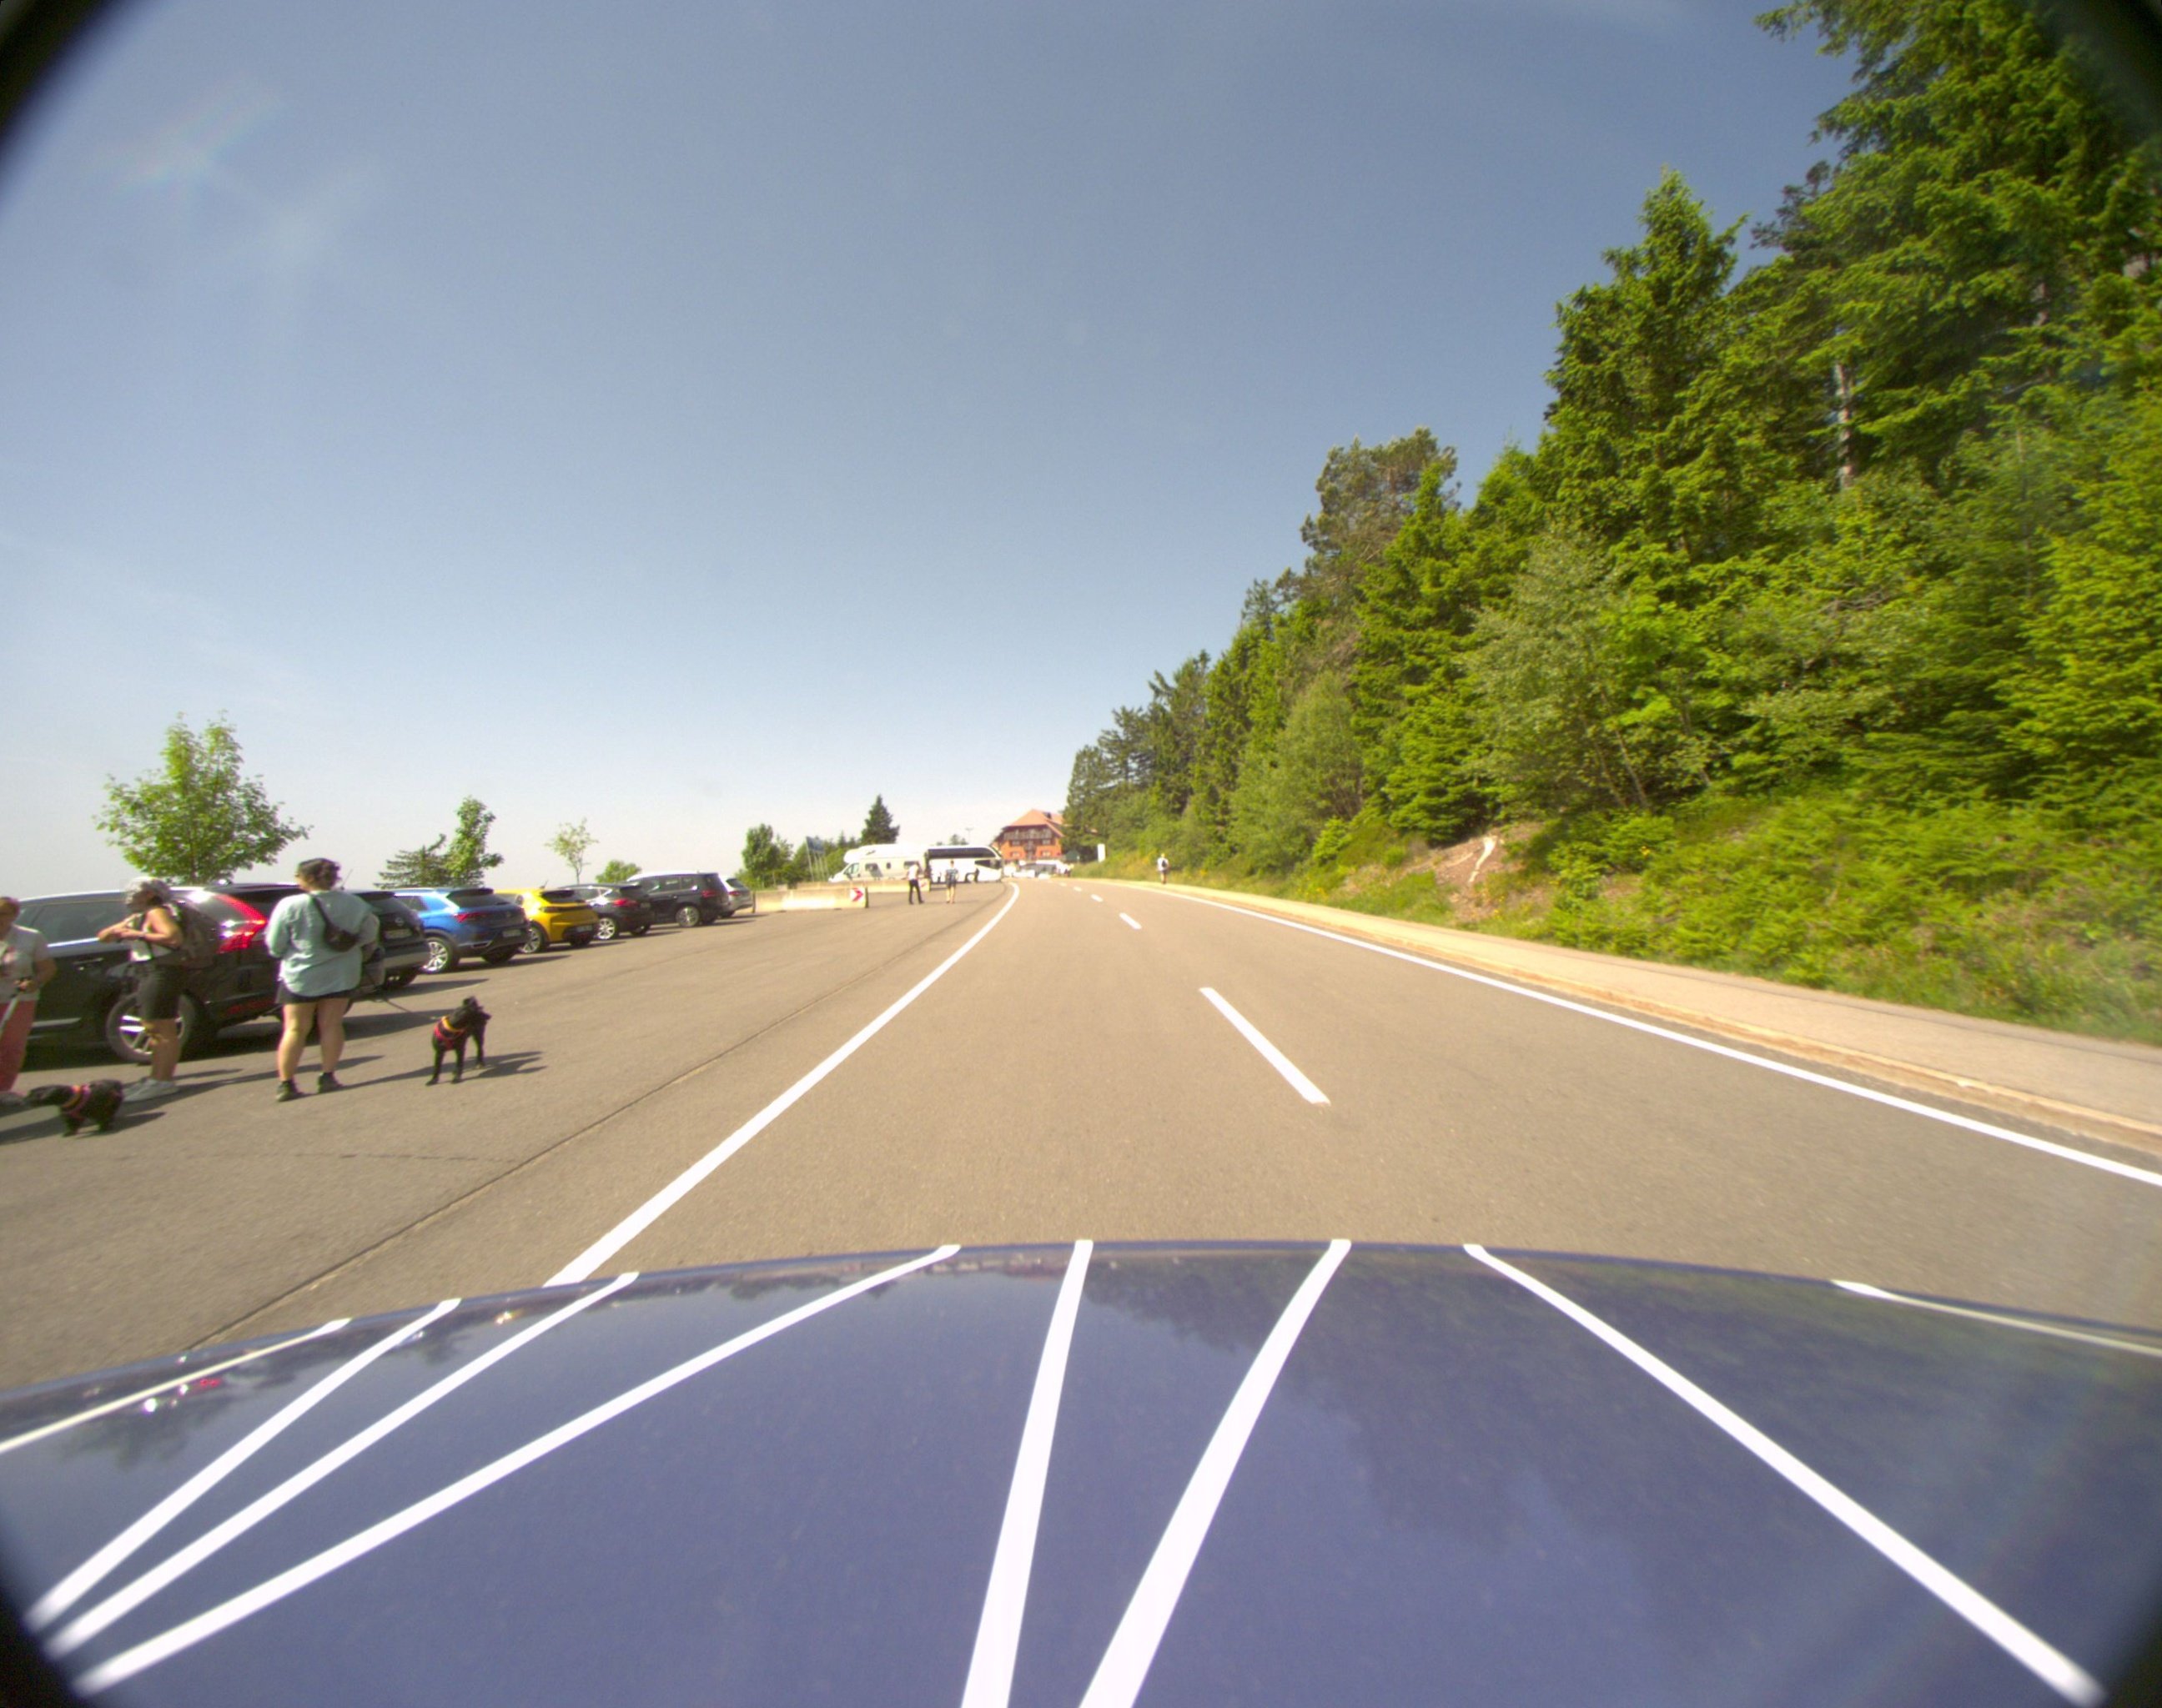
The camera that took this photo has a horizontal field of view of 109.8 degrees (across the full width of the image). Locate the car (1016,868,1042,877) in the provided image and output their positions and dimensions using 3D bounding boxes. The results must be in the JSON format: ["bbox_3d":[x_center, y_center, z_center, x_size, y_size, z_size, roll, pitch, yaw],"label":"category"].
[{"bbox_3d":[-8.913,3.223,130.373,3.954,1.578,1.793,-1,-1,22],"label":"car"}]

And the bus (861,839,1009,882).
[{"bbox_3d":[-13.128,0.583,69.329,12.883,3.556,2.838,-1,0,-4],"label":"bus"}]

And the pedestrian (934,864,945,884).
[{"bbox_3d":[-11.819,1.639,63.567,0.631,1.641,0.629,-1,0,19],"label":"pedestrian"}]

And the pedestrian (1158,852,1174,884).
[{"bbox_3d":[4.808,0.788,43.148,0.684,1.736,0.824,-2,0,-9],"label":"pedestrian"}]

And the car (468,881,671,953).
[{"bbox_3d":[-13.089,1.598,19.602,4.006,1.428,1.764,-4,0,3],"label":"car"}]

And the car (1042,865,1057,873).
[{"bbox_3d":[-6.213,2.855,149.078,1.711,1.543,3.140,-1,-1,25],"label":"car"}]

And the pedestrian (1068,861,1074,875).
[{"bbox_3d":[-1.184,1.661,91.469,0.578,1.633,0.893,0,-1,-8],"label":"pedestrian"}]

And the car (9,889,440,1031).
[{"bbox_3d":[-11.629,1.377,10.594,3.764,1.558,1.599,-2,0,-10],"label":"car"}]

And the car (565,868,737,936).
[{"bbox_3d":[-12.556,1.359,22.389,3.999,1.637,1.599,-4,0,-8],"label":"car"}]

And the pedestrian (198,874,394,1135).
[{"bbox_3d":[-5.716,1.047,5.578,0.618,1.765,0.724,-2,0,3],"label":"pedestrian"}]

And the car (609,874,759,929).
[{"bbox_3d":[-13.195,1.556,25.485,3.999,1.467,1.772,-4,0,-7],"label":"car"}]

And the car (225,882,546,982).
[{"bbox_3d":[-12.503,1.388,13.936,4.000,1.526,1.807,-2,-3,-8],"label":"car"}]

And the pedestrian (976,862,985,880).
[{"bbox_3d":[-8.773,1.494,66.231,0.631,1.557,0.628,-1,0,9],"label":"pedestrian"}]

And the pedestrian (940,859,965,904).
[{"bbox_3d":[-5.145,1.091,30.456,0.755,1.750,0.776,-1,0,9],"label":"pedestrian"}]

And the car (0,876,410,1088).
[{"bbox_3d":[-9.770,1.203,7.597,4.276,1.782,1.892,-2,-2,-5],"label":"car"}]

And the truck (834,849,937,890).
[{"bbox_3d":[-12.977,1.016,50.752,6.279,2.575,2.340,-1,-1,-4],"label":"truck"}]

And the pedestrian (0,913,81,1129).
[{"bbox_3d":[-8.274,1.247,5.699,0.618,1.577,0.736,-1,-1,15],"label":"pedestrian"}]

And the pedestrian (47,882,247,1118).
[{"bbox_3d":[-7.141,1.080,5.839,0.717,1.682,0.619,-2,0,3],"label":"pedestrian"}]

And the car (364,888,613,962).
[{"bbox_3d":[-13.074,1.538,16.949,3.996,1.345,1.987,-2,0,2],"label":"car"}]

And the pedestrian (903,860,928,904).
[{"bbox_3d":[-6.654,1.120,30.519,0.666,1.730,0.895,-1,0,10],"label":"pedestrian"}]

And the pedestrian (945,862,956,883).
[{"bbox_3d":[-10.864,1.549,63.267,0.631,1.747,0.628,-1,0,9],"label":"pedestrian"}]

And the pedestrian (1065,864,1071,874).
[{"bbox_3d":[-1.489,1.759,88.985,0.570,1.095,0.744,0,-1,-8],"label":"pedestrian"}]

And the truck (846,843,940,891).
[{"bbox_3d":[-13.264,0.872,54.035,6.082,3.177,2.531,-1,0,-7],"label":"truck"}]
